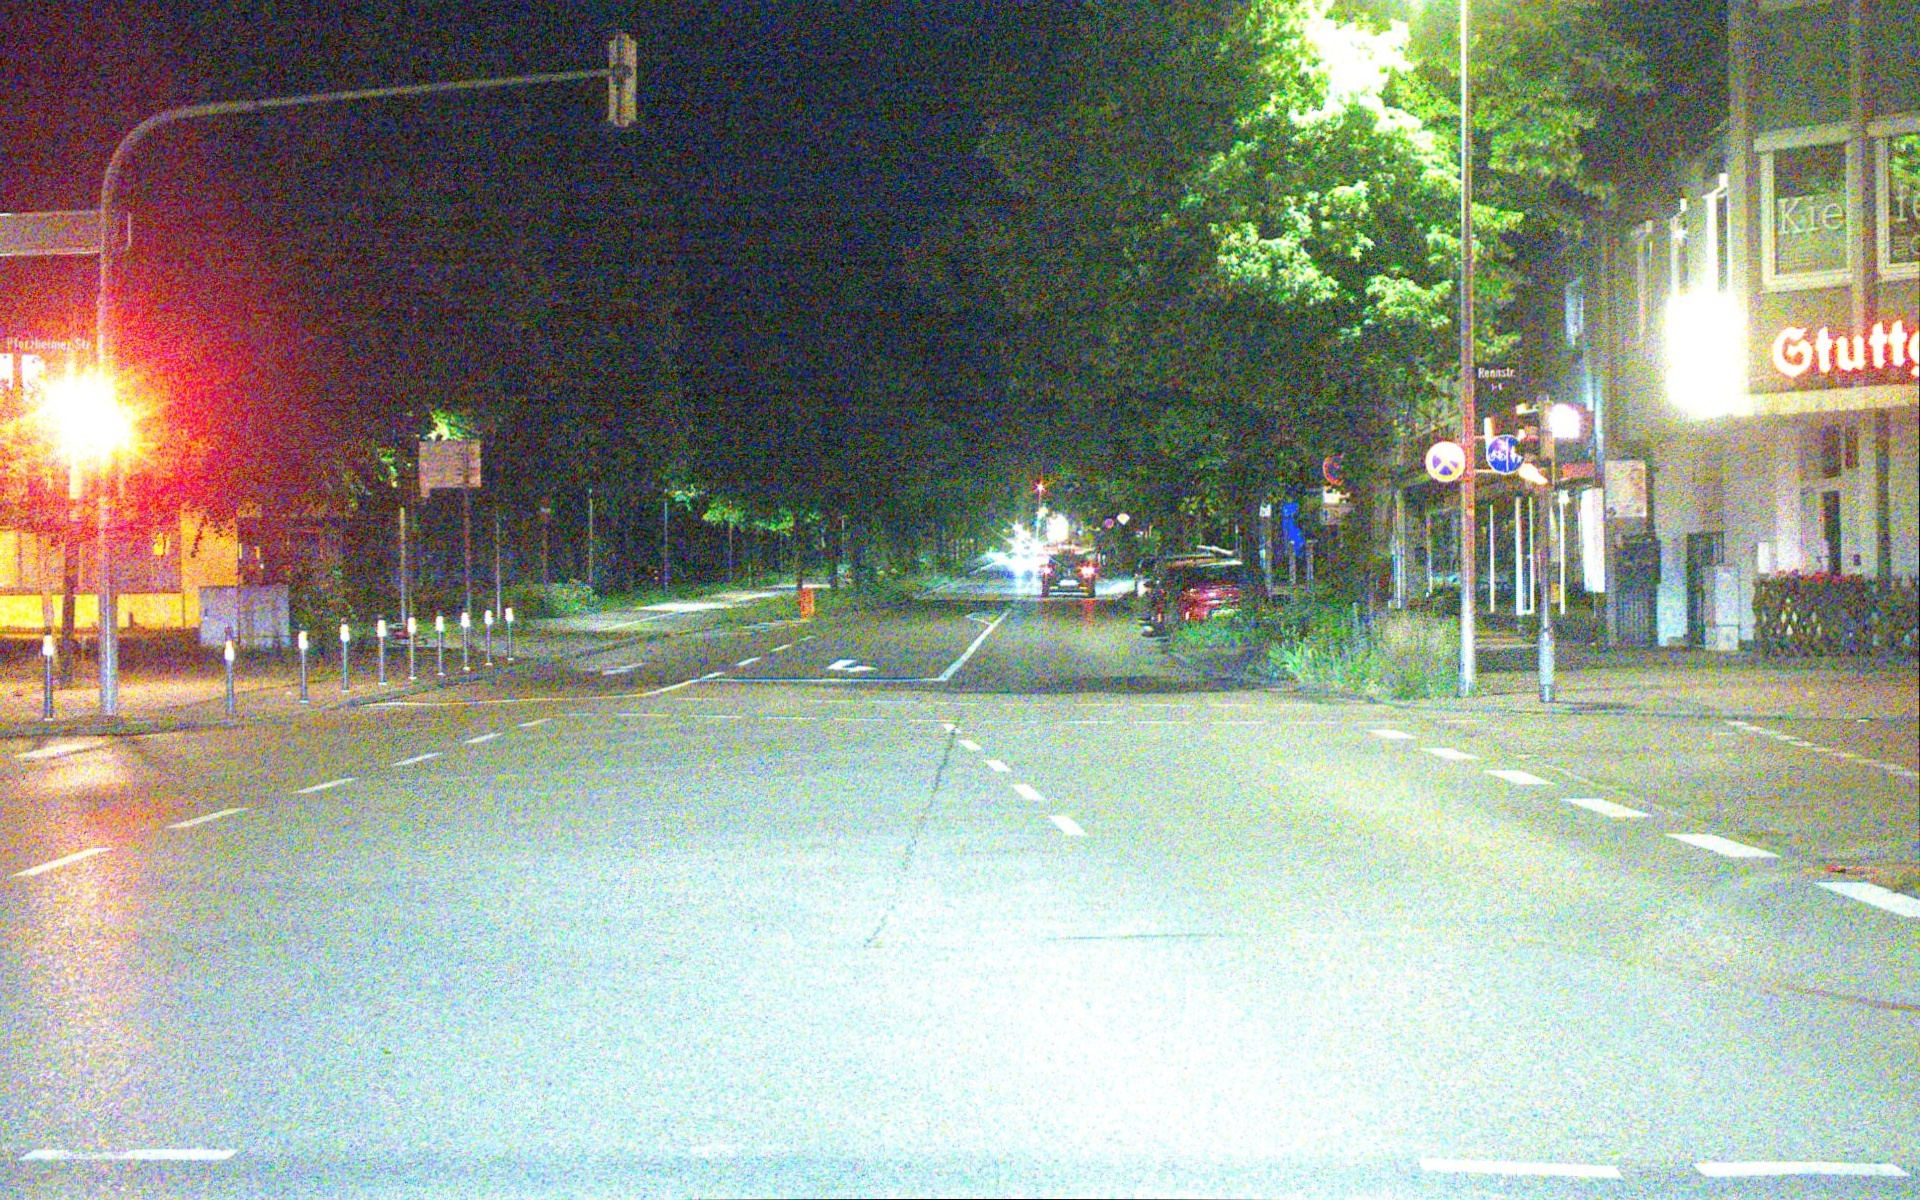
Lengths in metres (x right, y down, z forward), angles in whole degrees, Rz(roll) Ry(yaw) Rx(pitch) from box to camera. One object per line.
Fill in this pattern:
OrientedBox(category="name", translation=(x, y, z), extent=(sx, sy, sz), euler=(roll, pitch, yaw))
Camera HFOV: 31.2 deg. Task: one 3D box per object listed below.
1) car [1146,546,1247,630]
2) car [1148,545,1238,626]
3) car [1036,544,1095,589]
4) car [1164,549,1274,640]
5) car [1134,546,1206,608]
OrientedBox(category="car", translation=(4.706, -0.255, 68.810), extent=(1.876, 1.610, 4.000), euler=(0, 1, 2))
OrientedBox(category="car", translation=(5.165, -0.335, 76.481), extent=(1.876, 1.723, 4.000), euler=(0, 1, 2))
OrientedBox(category="car", translation=(3.519, -1.129, 115.675), extent=(1.873, 1.449, 4.316), euler=(1, 1, 1))
OrientedBox(category="car", translation=(4.768, -0.117, 63.642), extent=(1.876, 1.610, 4.000), euler=(0, 1, 2))
OrientedBox(category="car", translation=(5.750, -0.640, 94.499), extent=(1.876, 1.678, 4.000), euler=(0, 1, 2))
